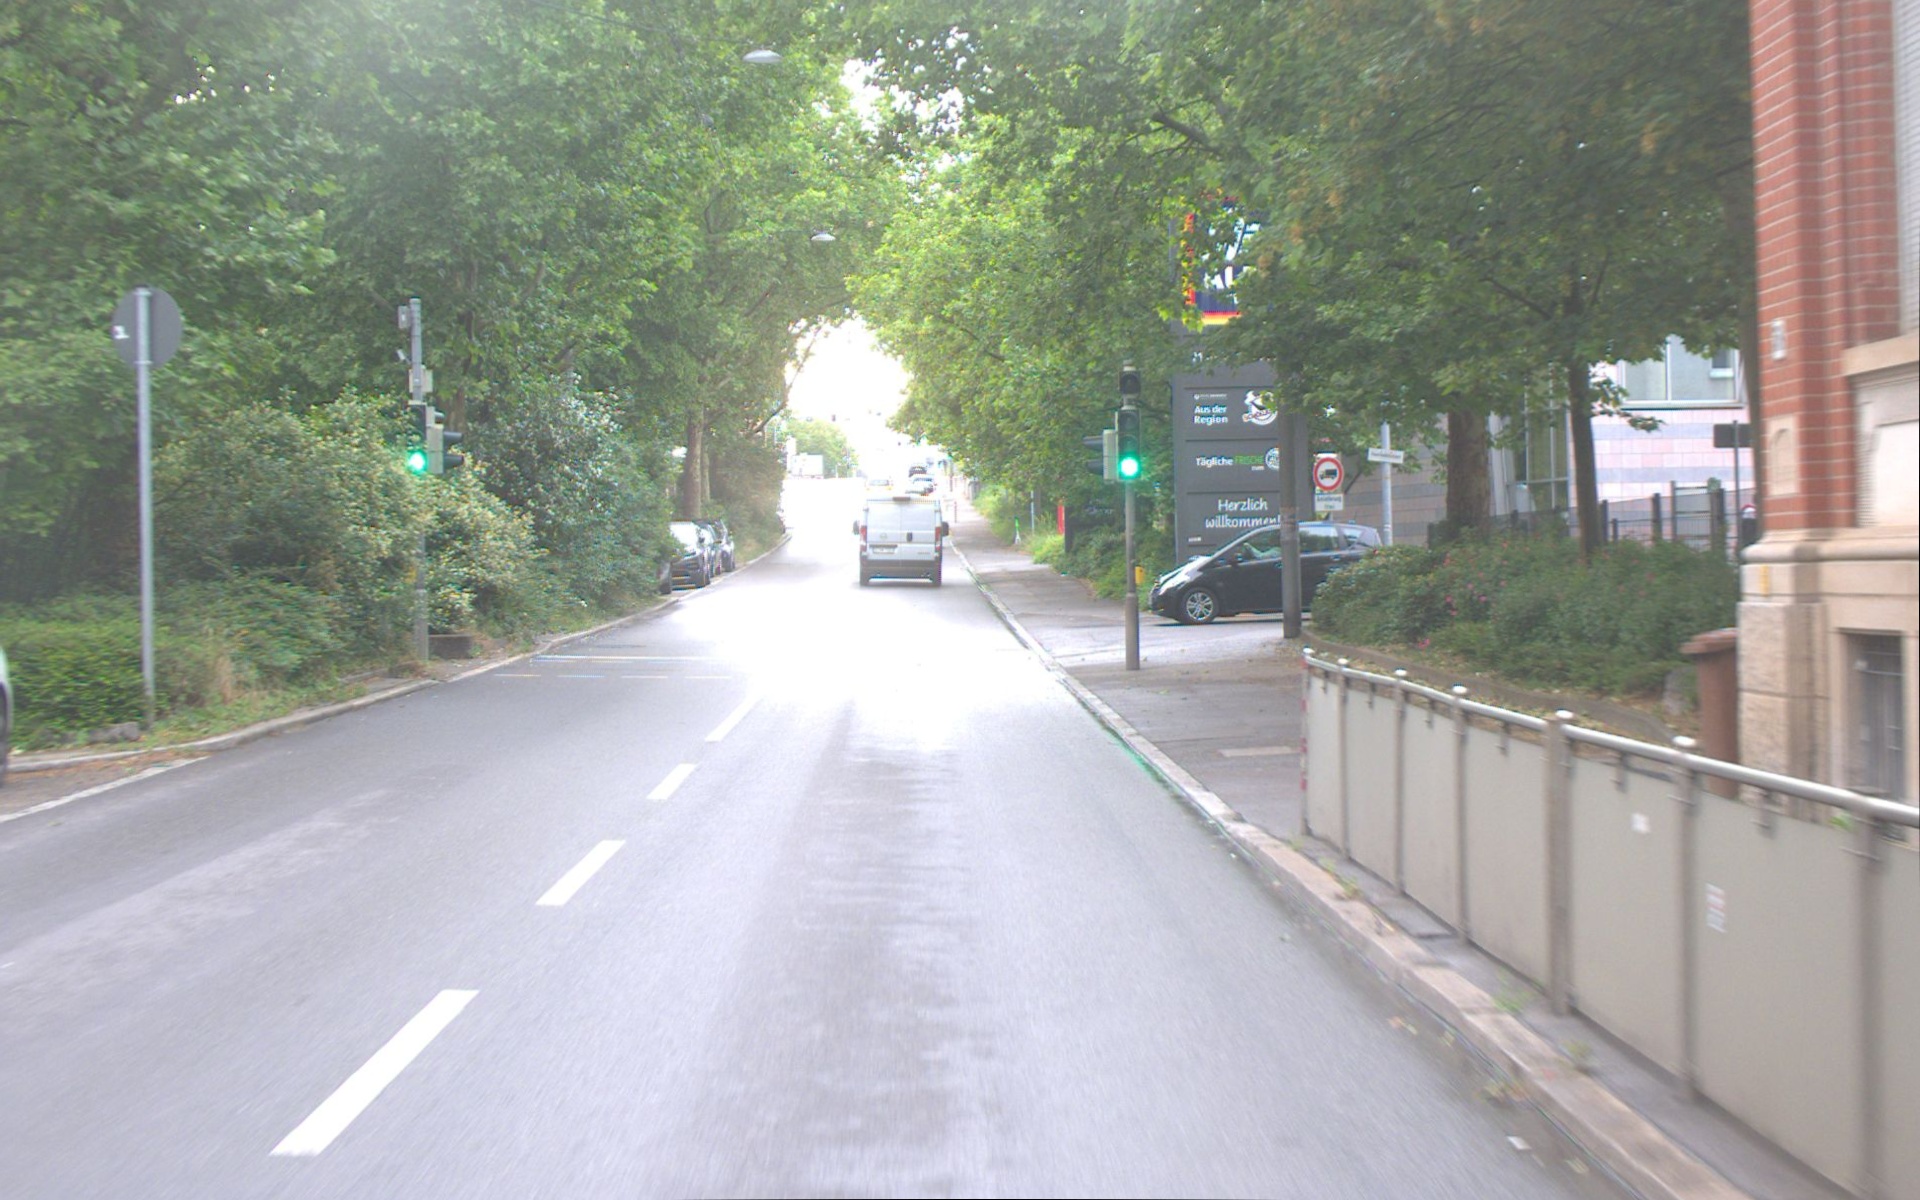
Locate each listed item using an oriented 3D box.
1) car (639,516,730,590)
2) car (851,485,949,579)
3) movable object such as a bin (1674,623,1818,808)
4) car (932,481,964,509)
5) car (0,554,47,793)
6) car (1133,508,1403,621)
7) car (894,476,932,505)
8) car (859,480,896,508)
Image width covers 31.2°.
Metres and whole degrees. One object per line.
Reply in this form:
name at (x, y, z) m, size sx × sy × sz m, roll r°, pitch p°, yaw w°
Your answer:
car at (-6.550, -1.147, 82.151) m, size 1.864 × 1.585 × 4.240 m, roll -3°, pitch 2°, yaw -1°
car at (-1.465, -1.678, 85.738) m, size 2.336 × 2.223 × 4.000 m, roll -1°, pitch 1°, yaw 0°
movable object such as a bin at (4.169, 0.605, 18.259) m, size 0.590 × 0.929 × 0.572 m, roll -2°, pitch 1°, yaw -1°
car at (-0.795, -6.980, 229.508) m, size 1.930 × 1.703 × 3.873 m, roll 1°, pitch 0°, yaw 3°
car at (-6.759, 0.468, 20.074) m, size 1.717 × 1.462 × 4.310 m, roll 0°, pitch 1°, yaw 0°
car at (4.849, -0.582, 54.419) m, size 3.848 × 1.542 × 2.027 m, roll -3°, pitch 2°, yaw -6°
car at (-3.025, -7.029, 221.158) m, size 2.149 × 1.703 × 3.873 m, roll 1°, pitch 0°, yaw 3°
car at (-5.488, -7.082, 229.984) m, size 2.159 × 1.703 × 3.873 m, roll 1°, pitch 0°, yaw 3°
